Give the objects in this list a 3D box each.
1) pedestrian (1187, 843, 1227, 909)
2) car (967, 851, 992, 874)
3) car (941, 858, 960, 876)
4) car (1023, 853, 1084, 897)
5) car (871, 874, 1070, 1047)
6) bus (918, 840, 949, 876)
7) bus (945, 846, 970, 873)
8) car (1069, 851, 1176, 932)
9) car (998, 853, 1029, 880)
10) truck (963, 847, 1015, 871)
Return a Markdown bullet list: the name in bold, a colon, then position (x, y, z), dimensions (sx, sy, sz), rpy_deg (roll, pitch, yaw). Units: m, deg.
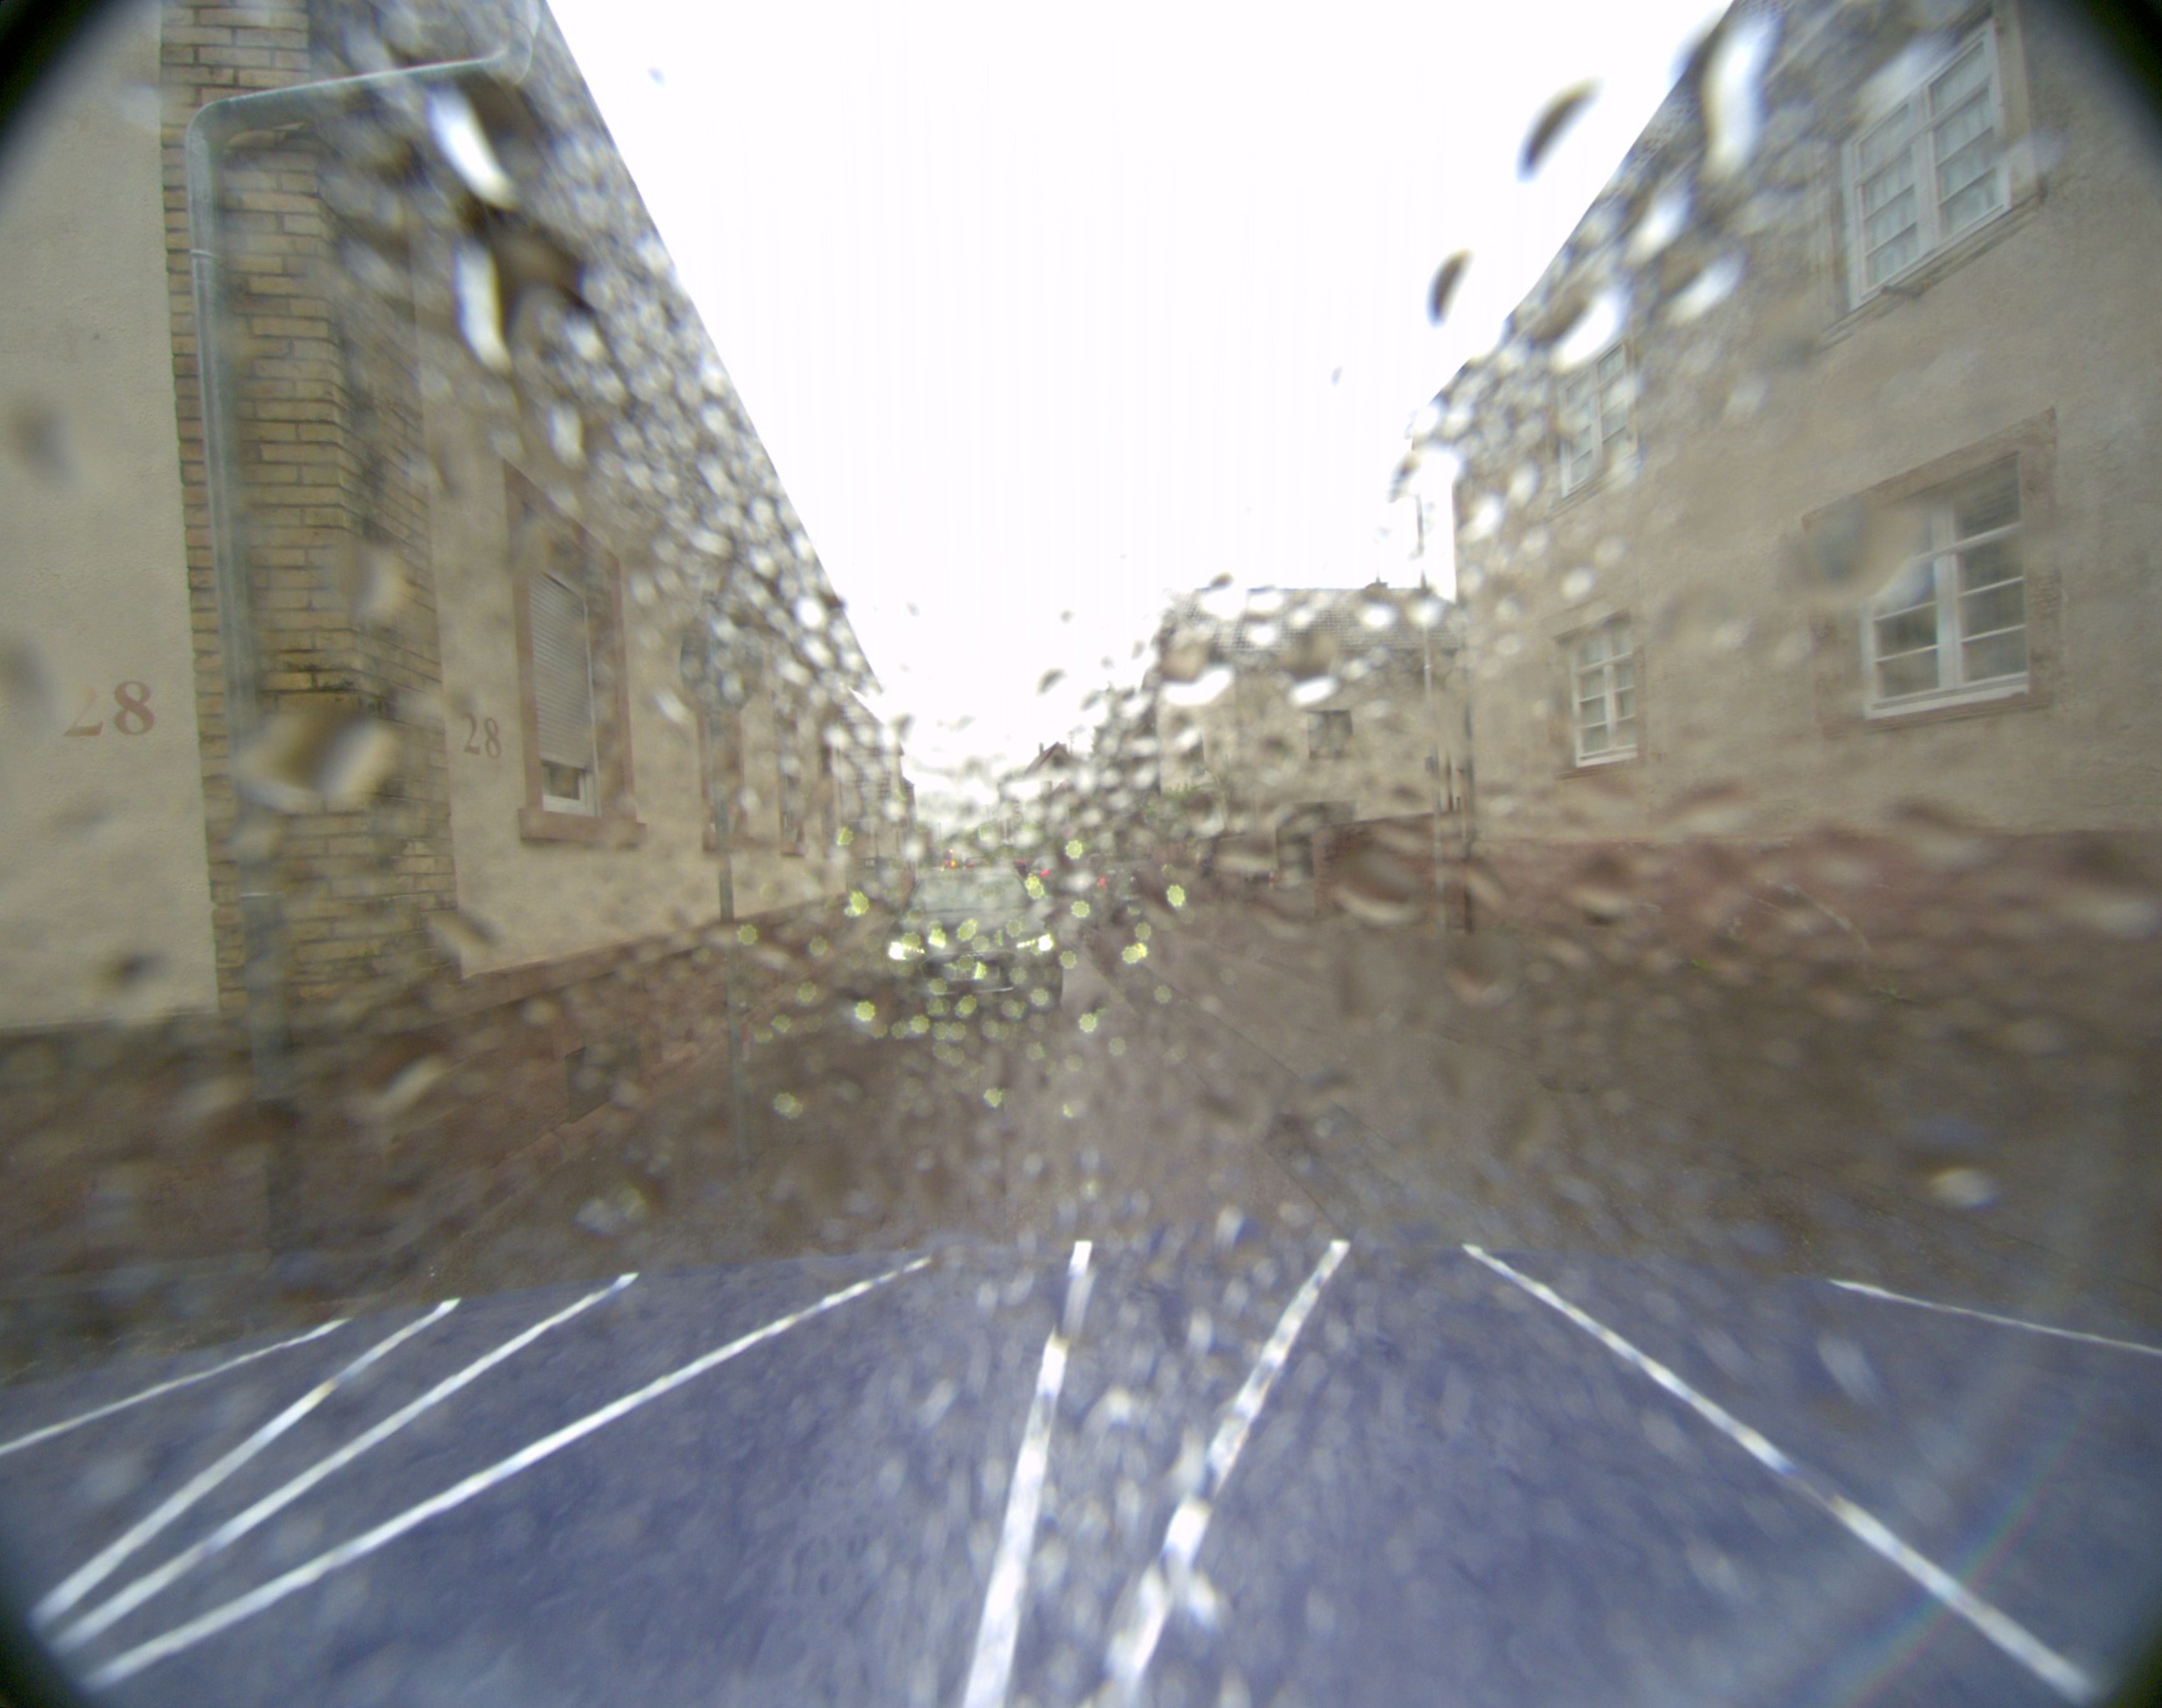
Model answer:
- **pedestrian**: position (3.064, 0.519, 18.566), dimensions (0.574, 1.529, 0.832), rpy_deg (-5, 1, -12)
- **car**: position (-8.135, 0.640, 60.747), dimensions (1.786, 1.655, 4.422), rpy_deg (-5, 2, -8)
- **car**: position (-15.751, 1.585, 91.837), dimensions (2.001, 2.002, 3.995), rpy_deg (-2, 1, -13)
- **car**: position (-1.143, 0.731, 29.095), dimensions (1.702, 1.500, 4.337), rpy_deg (-2, 1, -10)
- **car**: position (-1.312, 1.012, 8.975), dimensions (1.740, 1.363, 4.098), rpy_deg (-2, 0, -9)
- **bus**: position (-14.833, 0.309, 76.039), dimensions (2.670, 3.213, 12.178), rpy_deg (-2, 1, -12)
- **bus**: position (-16.695, 0.680, 102.021), dimensions (2.670, 3.213, 12.178), rpy_deg (-2, 1, -12)
- **car**: position (0.802, 0.739, 16.925), dimensions (1.609, 1.504, 3.685), rpy_deg (-4, 1, -8)
- **car**: position (-4.317, 0.763, 48.252), dimensions (1.627, 1.502, 3.790), rpy_deg (-6, 1, -8)
- **truck**: position (-10.244, 0.570, 85.158), dimensions (1.994, 2.490, 5.661), rpy_deg (-1, 1, 44)
